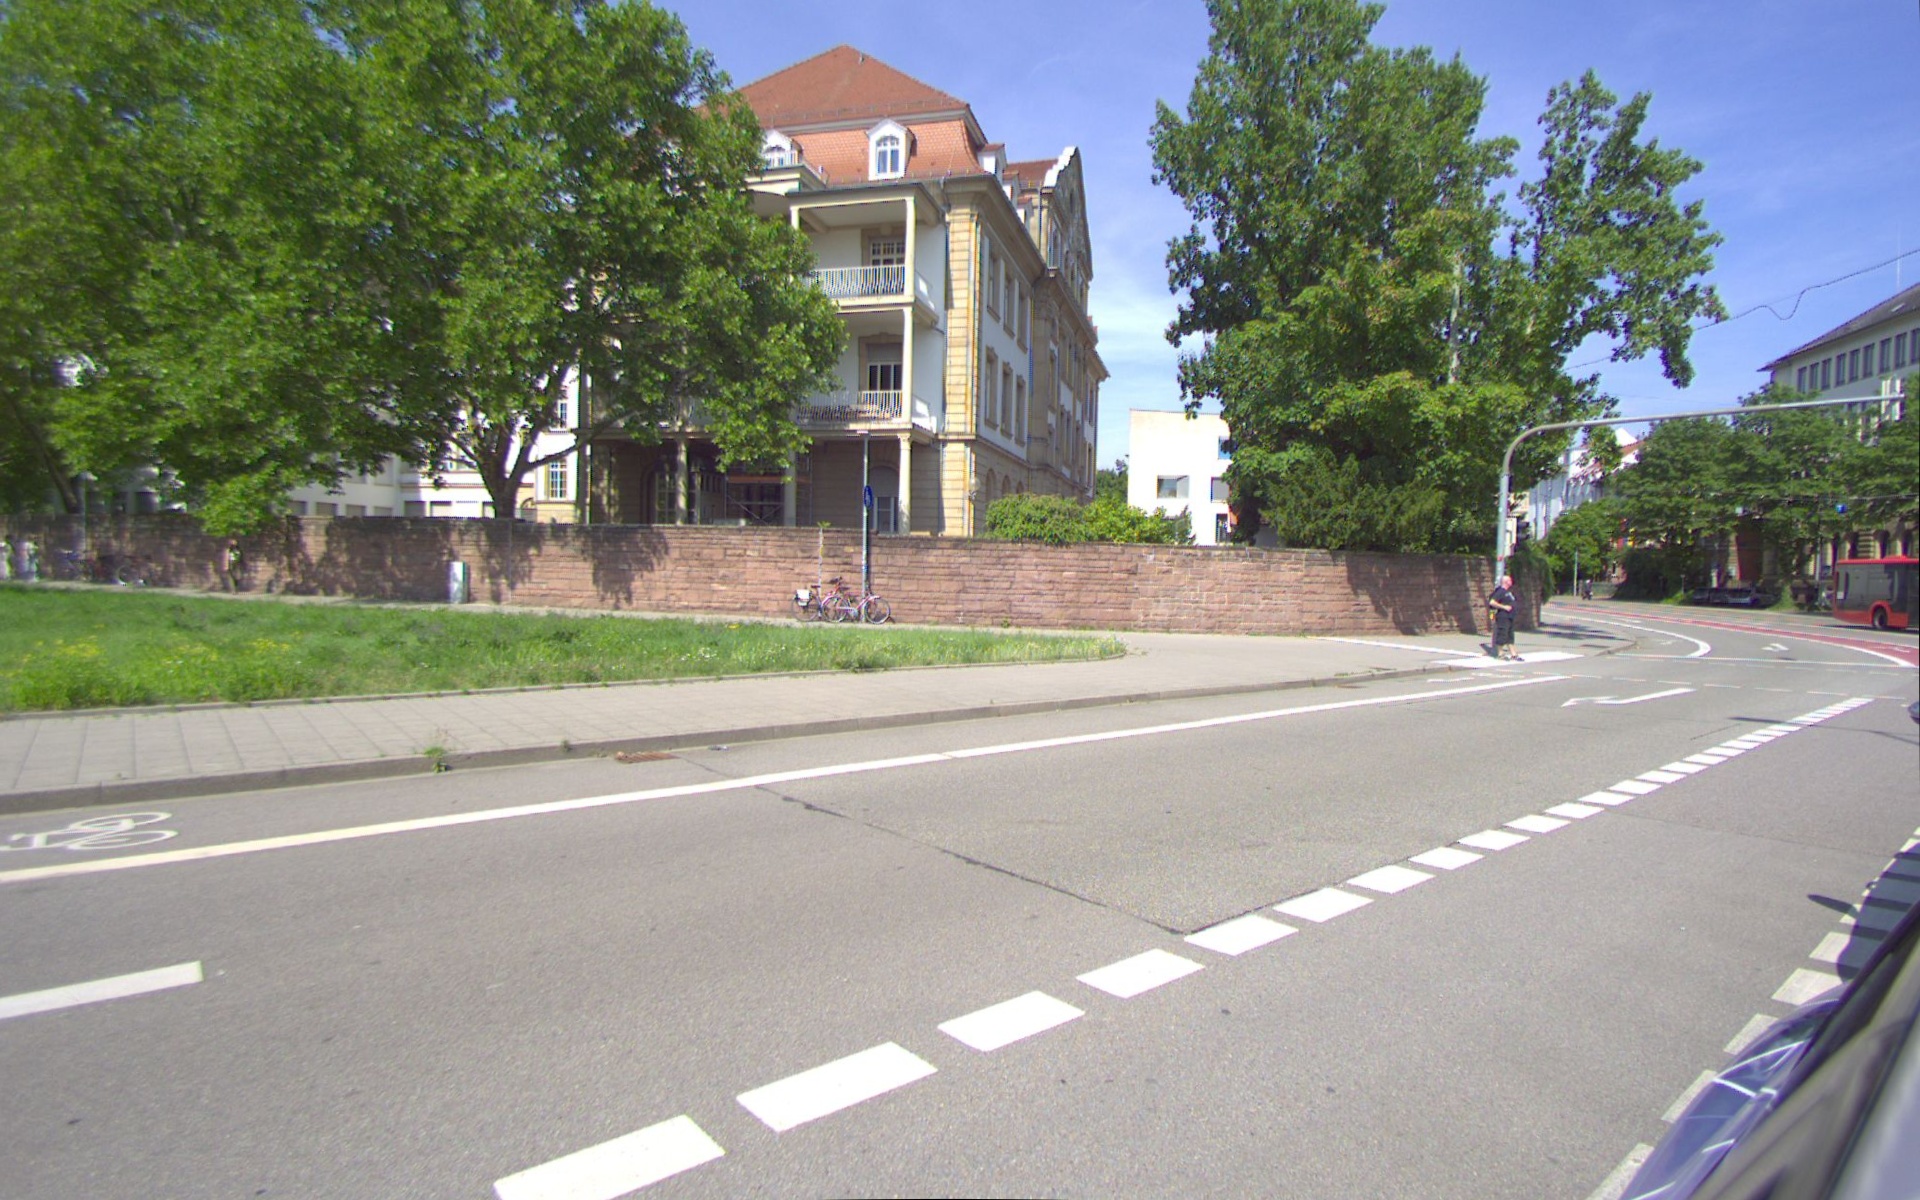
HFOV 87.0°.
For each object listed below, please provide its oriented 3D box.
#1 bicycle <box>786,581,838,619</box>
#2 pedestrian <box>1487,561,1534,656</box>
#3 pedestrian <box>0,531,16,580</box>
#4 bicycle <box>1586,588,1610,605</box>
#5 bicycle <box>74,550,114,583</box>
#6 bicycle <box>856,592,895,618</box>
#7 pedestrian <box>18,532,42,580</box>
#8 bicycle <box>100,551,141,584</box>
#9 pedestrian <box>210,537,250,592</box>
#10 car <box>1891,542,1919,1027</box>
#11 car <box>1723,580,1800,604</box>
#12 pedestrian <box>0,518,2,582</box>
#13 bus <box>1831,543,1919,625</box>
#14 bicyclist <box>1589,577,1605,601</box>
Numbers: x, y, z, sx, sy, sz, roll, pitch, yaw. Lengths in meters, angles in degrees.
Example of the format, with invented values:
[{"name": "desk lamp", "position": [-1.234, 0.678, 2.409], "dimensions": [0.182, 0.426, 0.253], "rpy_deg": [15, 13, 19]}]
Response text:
[{"name": "bicycle", "position": [-3.615, 0.008, 24.722], "dimensions": [1.202, 0.894, 0.395], "rpy_deg": [1, 2, -21]}, {"name": "pedestrian", "position": [12.173, 0.173, 22.374], "dimensions": [0.790, 2.038, 0.608], "rpy_deg": [2, 1, 35]}, {"name": "pedestrian", "position": [-31.417, -1.467, 33.240], "dimensions": [0.700, 1.597, 0.516], "rpy_deg": [3, 3, 41]}, {"name": "bicycle", "position": [55.351, -0.343, 87.847], "dimensions": [0.819, 1.420, 3.452], "rpy_deg": [0, 0, 16]}, {"name": "bicycle", "position": [-28.799, -1.110, 33.644], "dimensions": [1.432, 1.046, 0.444], "rpy_deg": [3, 2, 24]}, {"name": "bicycle", "position": [-2.089, 0.131, 25.035], "dimensions": [0.929, 0.609, 0.275], "rpy_deg": [2, 2, -2]}, {"name": "pedestrian", "position": [-31.096, -1.474, 33.851], "dimensions": [0.700, 1.597, 0.516], "rpy_deg": [3, 3, 41]}, {"name": "bicycle", "position": [-27.413, -1.066, 33.045], "dimensions": [1.432, 1.046, 0.444], "rpy_deg": [3, 2, 24]}, {"name": "pedestrian", "position": [-21.421, -1.039, 29.708], "dimensions": [0.900, 1.567, 0.501], "rpy_deg": [2, 2, 13]}, {"name": "car", "position": [5.269, 0.648, 4.004], "dimensions": [4.077, 1.605, 1.688], "rpy_deg": [0, 3, -39]}, {"name": "car", "position": [58.951, -0.604, 74.493], "dimensions": [3.941, 1.682, 1.993], "rpy_deg": [0, 3, 14]}, {"name": "pedestrian", "position": [-30.973, -1.592, 32.161], "dimensions": [0.586, 2.038, 0.522], "rpy_deg": [1, 2, 9]}, {"name": "bus", "position": [38.113, -0.611, 37.753], "dimensions": [3.086, 3.133, 12.364], "rpy_deg": [0, 1, 13]}, {"name": "bicyclist", "position": [55.358, -0.945, 87.929], "dimensions": [0.847, 2.039, 1.230], "rpy_deg": [0, 0, 16]}]
